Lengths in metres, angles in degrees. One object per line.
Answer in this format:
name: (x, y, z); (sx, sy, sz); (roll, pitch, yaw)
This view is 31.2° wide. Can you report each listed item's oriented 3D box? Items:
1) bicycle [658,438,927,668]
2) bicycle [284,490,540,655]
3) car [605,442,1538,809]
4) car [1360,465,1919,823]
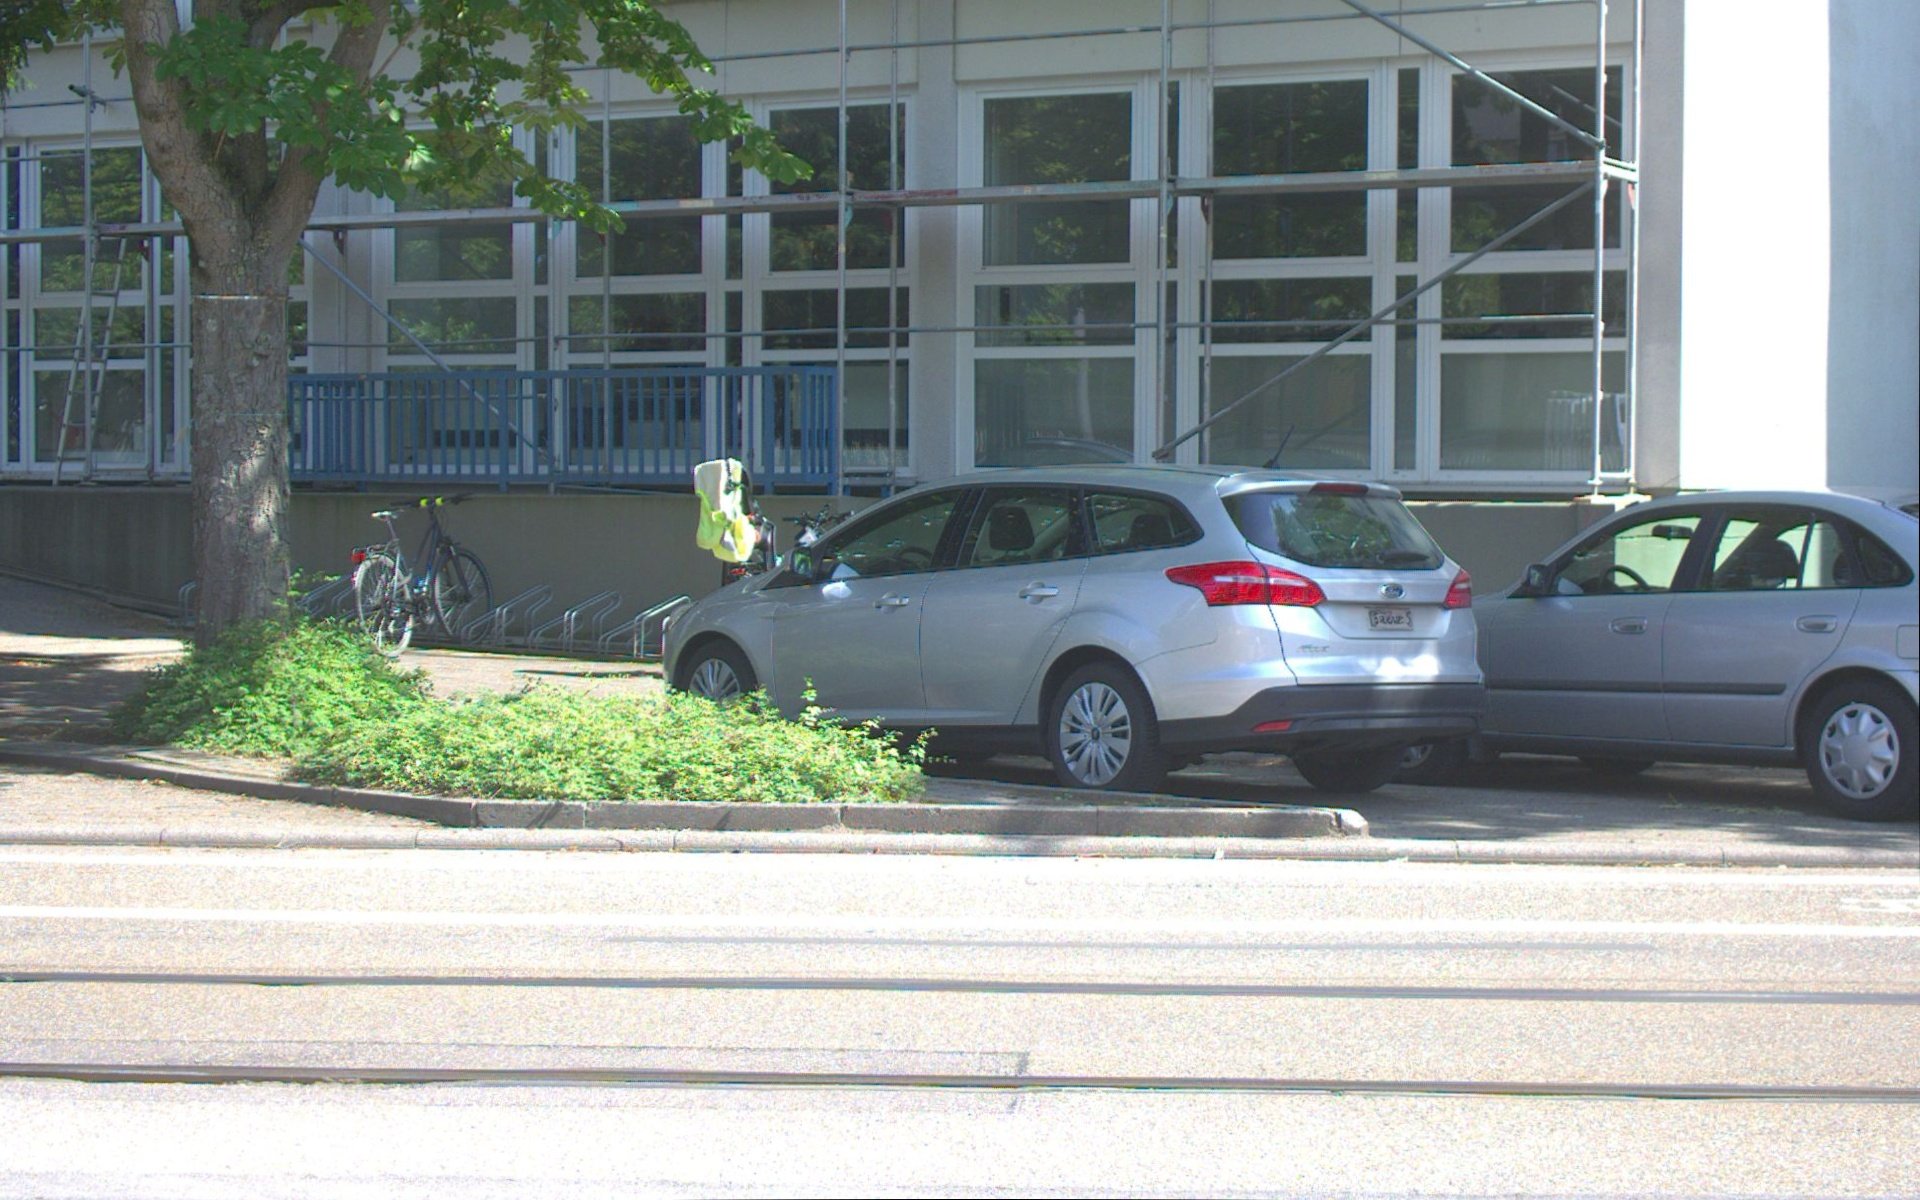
bicycle: (-1.080, -0.332, 22.721); (0.662, 1.448, 2.086); (1, 2, 34)
bicycle: (-3.761, -0.219, 23.797); (0.742, 1.082, 2.201); (1, 2, 21)
car: (0.382, 0.029, 16.122); (1.779, 1.481, 4.433); (-2, 2, -42)
car: (3.822, 0.136, 15.637); (1.608, 1.481, 3.944); (-1, 2, -40)
